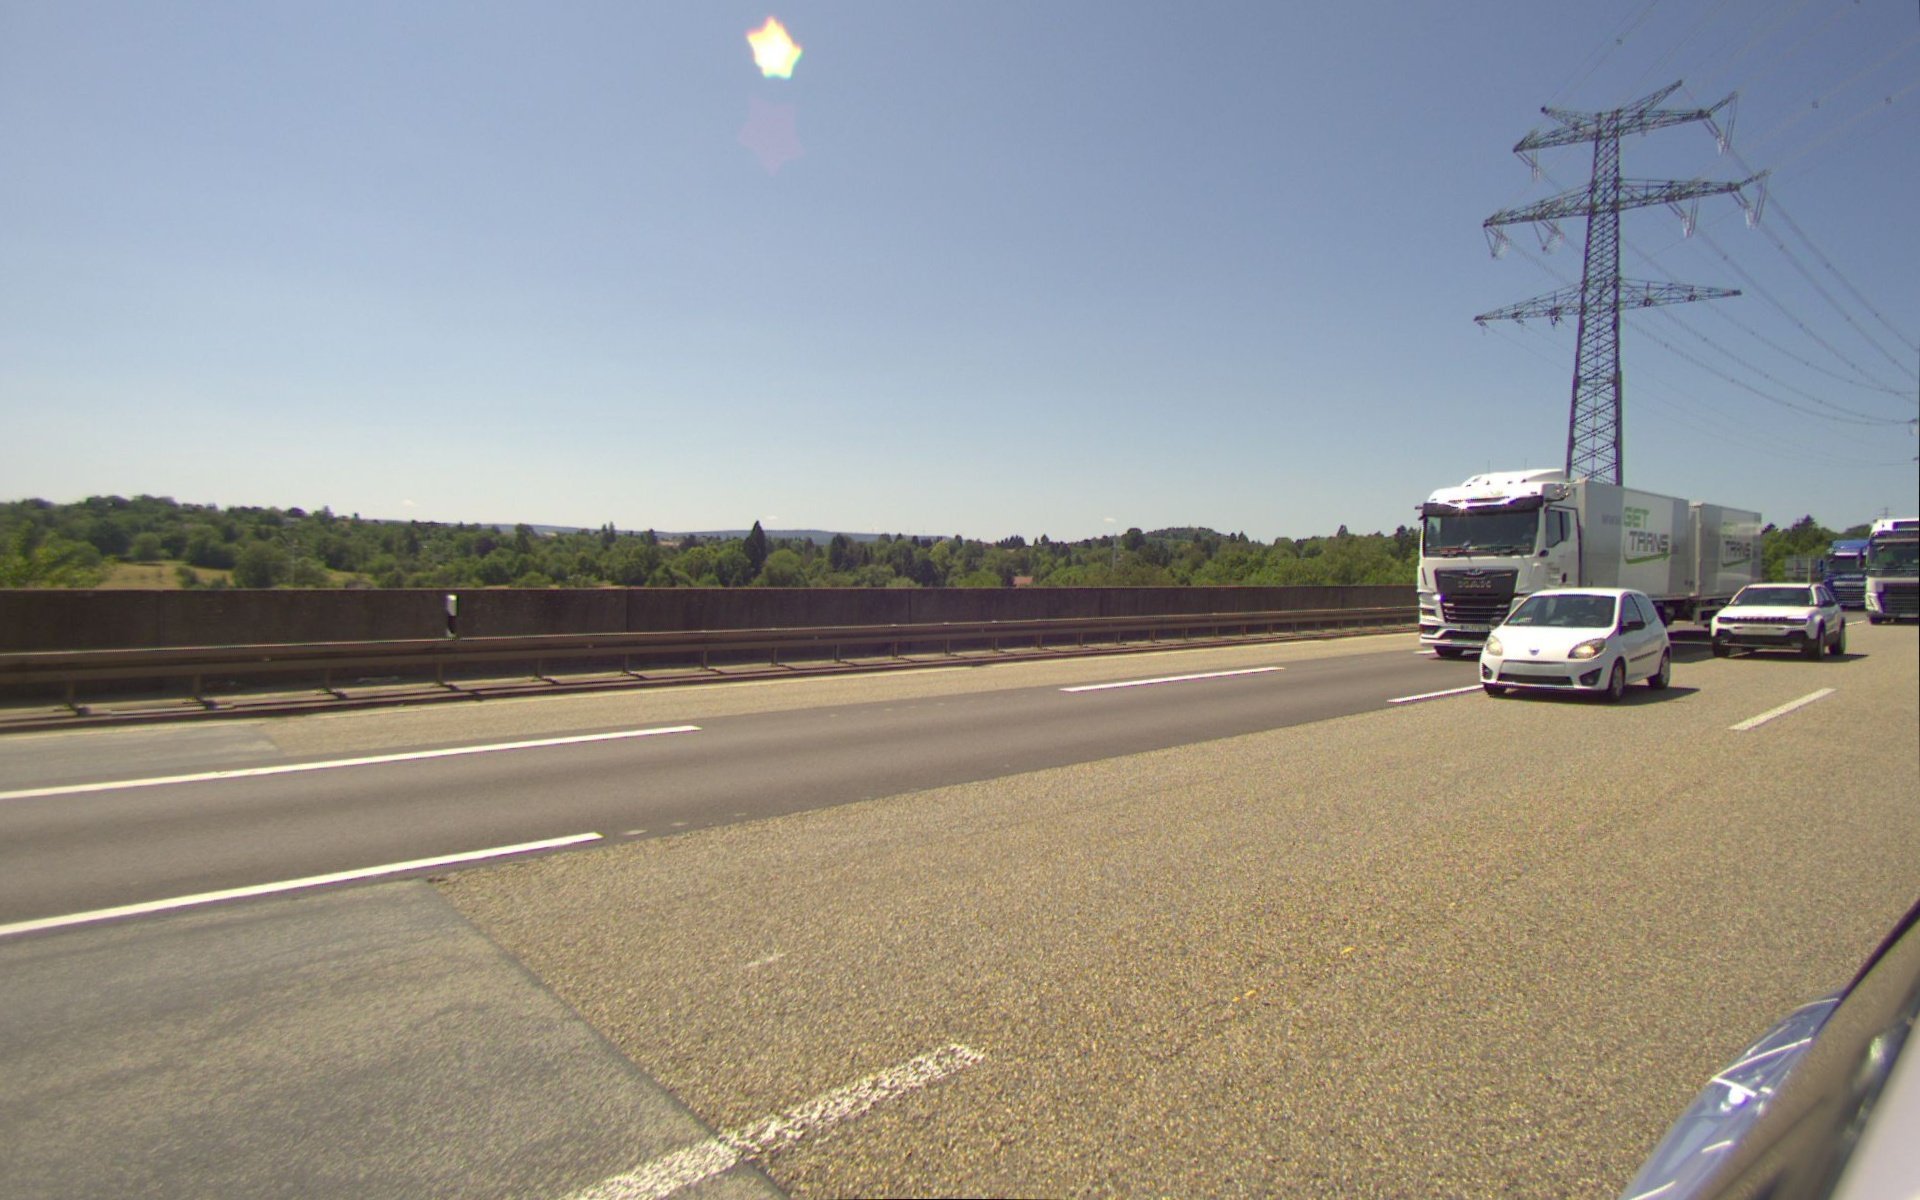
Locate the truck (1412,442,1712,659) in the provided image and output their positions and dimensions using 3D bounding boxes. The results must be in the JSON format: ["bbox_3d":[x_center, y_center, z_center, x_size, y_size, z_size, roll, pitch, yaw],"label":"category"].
[{"bbox_3d":[14.252,-1.034,23.285,11.104,3.980,2.692,-2,1,-42],"label":"truck"}]

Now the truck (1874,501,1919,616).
[{"bbox_3d":[39.580,-1.599,40.543,14.007,4.089,2.715,-1,0,-41],"label":"truck"}]

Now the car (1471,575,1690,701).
[{"bbox_3d":[8.816,0.434,14.258,3.761,1.529,1.657,-1,1,-42],"label":"car"}]

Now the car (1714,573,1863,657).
[{"bbox_3d":[17.346,0.251,21.141,3.785,1.549,1.774,-2,1,-41],"label":"car"}]

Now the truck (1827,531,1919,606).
[{"bbox_3d":[52.232,-1.837,57.689,11.083,3.929,2.837,-2,1,-42],"label":"truck"}]

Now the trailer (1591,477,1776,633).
[{"bbox_3d":[21.254,-1.234,29.534,7.640,3.990,2.749,-2,1,-42],"label":"trailer"}]
